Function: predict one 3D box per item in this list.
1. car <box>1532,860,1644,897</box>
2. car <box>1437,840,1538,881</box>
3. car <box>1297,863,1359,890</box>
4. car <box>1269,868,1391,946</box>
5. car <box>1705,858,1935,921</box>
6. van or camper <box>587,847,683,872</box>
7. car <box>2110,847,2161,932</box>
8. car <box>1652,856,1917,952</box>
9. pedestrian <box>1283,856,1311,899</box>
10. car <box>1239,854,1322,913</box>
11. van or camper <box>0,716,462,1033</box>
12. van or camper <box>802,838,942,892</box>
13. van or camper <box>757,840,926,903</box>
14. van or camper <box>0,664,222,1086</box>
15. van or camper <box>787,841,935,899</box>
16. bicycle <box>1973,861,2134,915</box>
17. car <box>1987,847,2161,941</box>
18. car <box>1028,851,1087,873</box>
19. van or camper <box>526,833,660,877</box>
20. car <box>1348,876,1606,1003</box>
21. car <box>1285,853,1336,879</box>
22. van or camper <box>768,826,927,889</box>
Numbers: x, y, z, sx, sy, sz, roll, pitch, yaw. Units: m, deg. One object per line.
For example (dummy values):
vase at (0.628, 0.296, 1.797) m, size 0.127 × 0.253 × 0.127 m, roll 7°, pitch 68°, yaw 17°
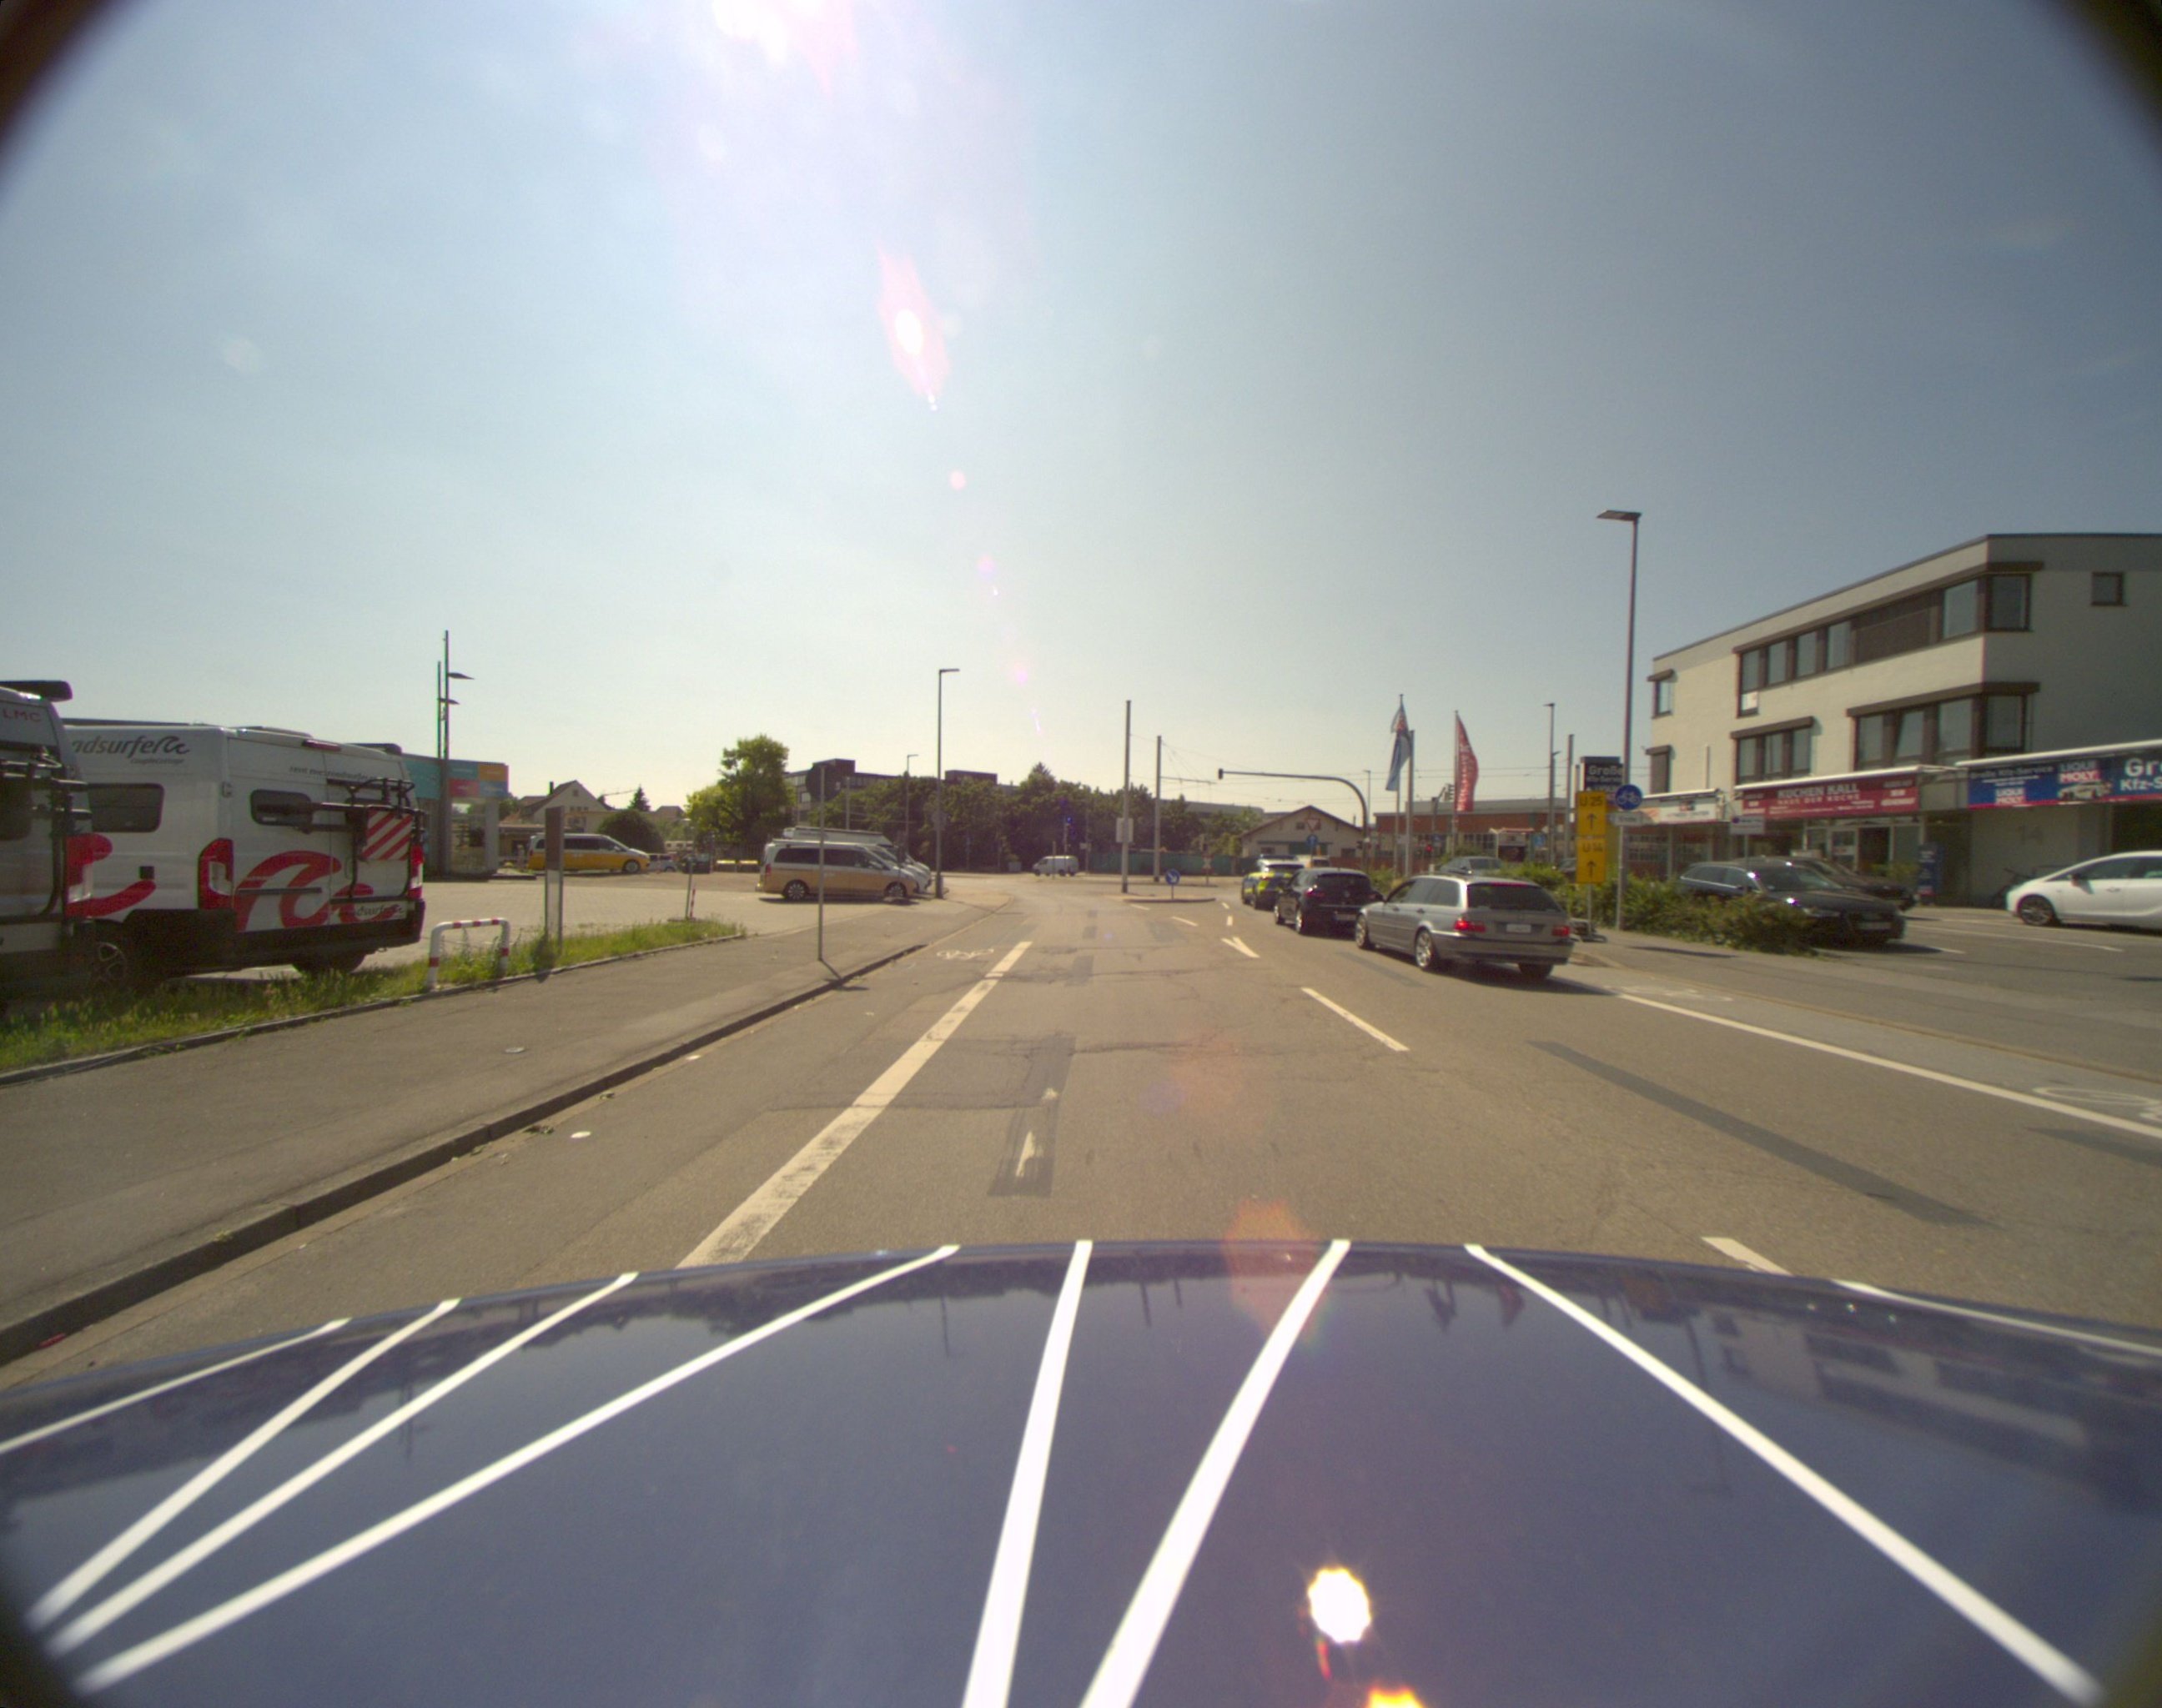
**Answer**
car at (20.878, 0.951, 31.559) m, size 1.911 × 1.380 × 4.487 m, roll 1°, pitch 0°, yaw 5°
car at (16.639, 0.266, 31.402) m, size 1.911 × 1.564 × 4.820 m, roll 1°, pitch 0°, yaw 5°
car at (15.217, 1.367, 46.628) m, size 4.118 × 1.446 × 1.762 m, roll 1°, pitch 2°, yaw -43°
car at (5.498, 1.095, 17.315) m, size 1.664 × 1.446 × 4.242 m, roll 2°, pitch 0°, yaw 5°
car at (18.920, 0.834, 19.813) m, size 1.911 × 1.413 × 4.420 m, roll 1°, pitch 0°, yaw 5°
van or camper at (-30.425, 0.391, 51.854) m, size 5.431 × 1.602 × 2.287 m, roll 1°, pitch 0°, yaw -36°
car at (23.808, 0.756, 14.720) m, size 1.911 × 1.805 × 4.420 m, roll 1°, pitch 0°, yaw 5°
car at (14.172, 0.907, 15.692) m, size 1.909 × 1.705 × 4.001 m, roll 1°, pitch 0°, yaw 4°
pedestrian at (8.690, 0.938, 30.576) m, size 0.995 × 1.675 × 0.800 m, roll 1°, pitch 0°, yaw 13°
car at (6.462, 0.898, 25.068) m, size 1.897 × 1.748 × 4.355 m, roll 1°, pitch 0°, yaw 5°
van or camper at (-10.214, 0.134, 7.441) m, size 6.210 × 2.509 × 2.619 m, roll 1°, pitch 0°, yaw 2°
van or camper at (-8.736, 0.465, 31.836) m, size 5.148 × 2.064 × 2.446 m, roll 1°, pitch 0°, yaw -31°
van or camper at (-8.109, 0.618, 25.819) m, size 5.145 × 1.950 × 1.982 m, roll 2°, pitch 1°, yaw -29°
van or camper at (-10.092, 0.089, 4.796) m, size 6.364 × 2.700 × 2.713 m, roll 1°, pitch 0°, yaw 2°
van or camper at (-8.266, 0.605, 28.665) m, size 4.991 × 2.033 × 2.037 m, roll 2°, pitch 0°, yaw -29°
bicycle at (24.561, 0.815, 19.269) m, size 0.702 × 1.274 × 2.477 m, roll 0°, pitch 0°, yaw -39°
car at (21.248, 0.770, 14.846) m, size 1.911 × 1.699 × 4.479 m, roll 1°, pitch 2°, yaw 6°
car at (-2.371, 0.774, 75.560) m, size 5.516 × 2.120 × 2.218 m, roll 1°, pitch 0°, yaw 35°
van or camper at (-24.097, 0.066, 37.586) m, size 5.431 × 2.027 × 2.287 m, roll 1°, pitch 0°, yaw -36°
car at (5.657, 1.118, 11.579) m, size 1.746 × 1.396 × 4.325 m, roll 2°, pitch 0°, yaw 2°
car at (17.937, 0.899, 59.580) m, size 1.998 × 1.935 × 4.432 m, roll 1°, pitch 0°, yaw -11°
van or camper at (-10.445, 0.200, 34.232) m, size 6.376 × 2.621 × 2.526 m, roll 1°, pitch 0°, yaw -34°
